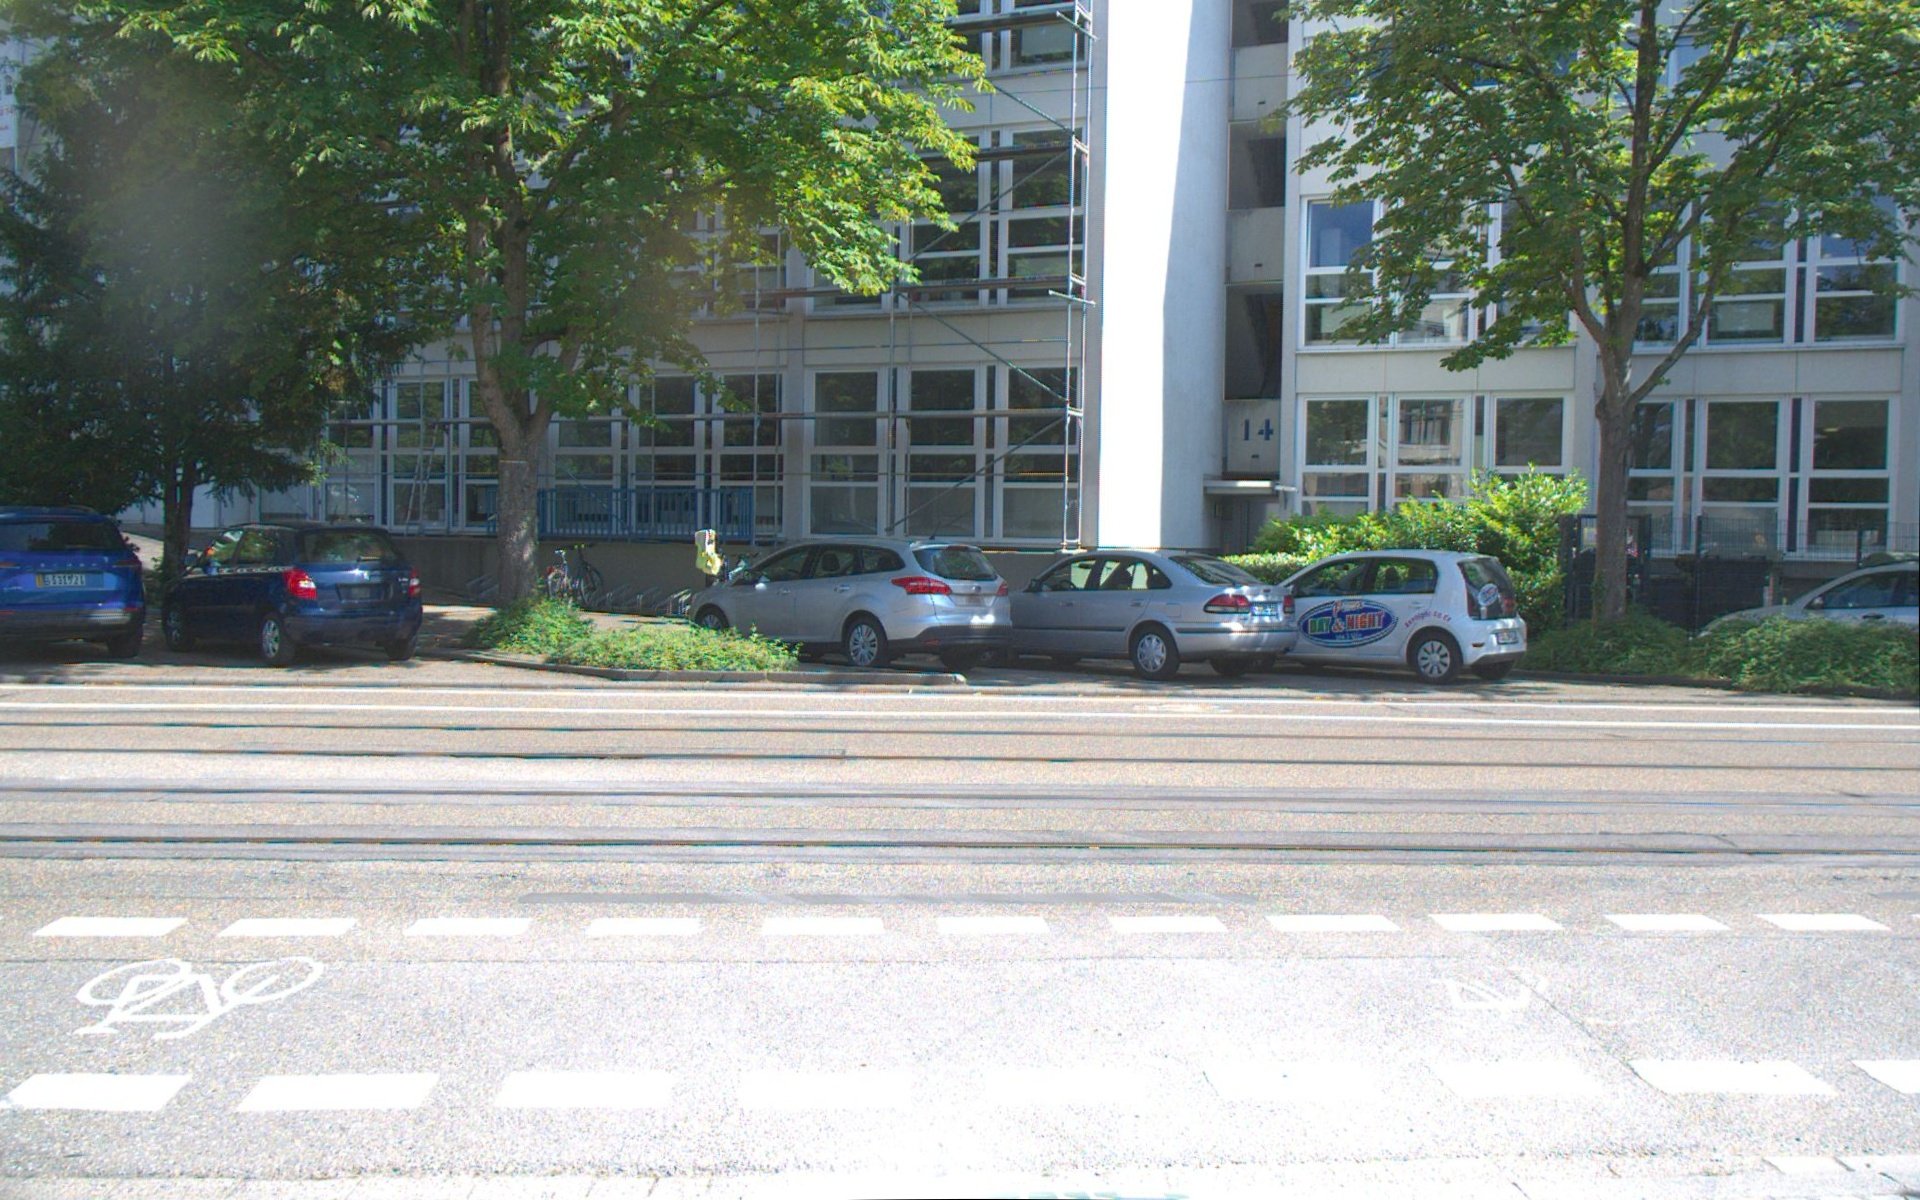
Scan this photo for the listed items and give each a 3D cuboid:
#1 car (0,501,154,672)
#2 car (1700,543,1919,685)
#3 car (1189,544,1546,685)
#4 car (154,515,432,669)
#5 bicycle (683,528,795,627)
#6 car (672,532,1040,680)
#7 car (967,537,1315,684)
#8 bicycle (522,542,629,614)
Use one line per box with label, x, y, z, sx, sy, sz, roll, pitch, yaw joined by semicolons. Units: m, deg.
car;-10.538;-0.243;18.358;1.767;1.650;3.883;-2;5;-44
car;11.461;0.160;20.071;4.262;1.632;1.551;2;2;39
car;4.781;0.104;19.740;3.876;1.512;1.603;1;2;43
car;-7.533;-0.154;18.550;3.396;1.557;1.567;3;3;42
bicycle;-3.431;-0.363;25.842;0.648;1.478;2.088;2;2;27
car;-1.314;-0.012;19.411;4.356;1.511;1.774;3;3;42
car;2.037;0.050;19.342;3.878;1.511;1.602;3;3;44
bicycle;-6.150;-0.379;26.599;0.725;1.104;2.205;1;2;15
